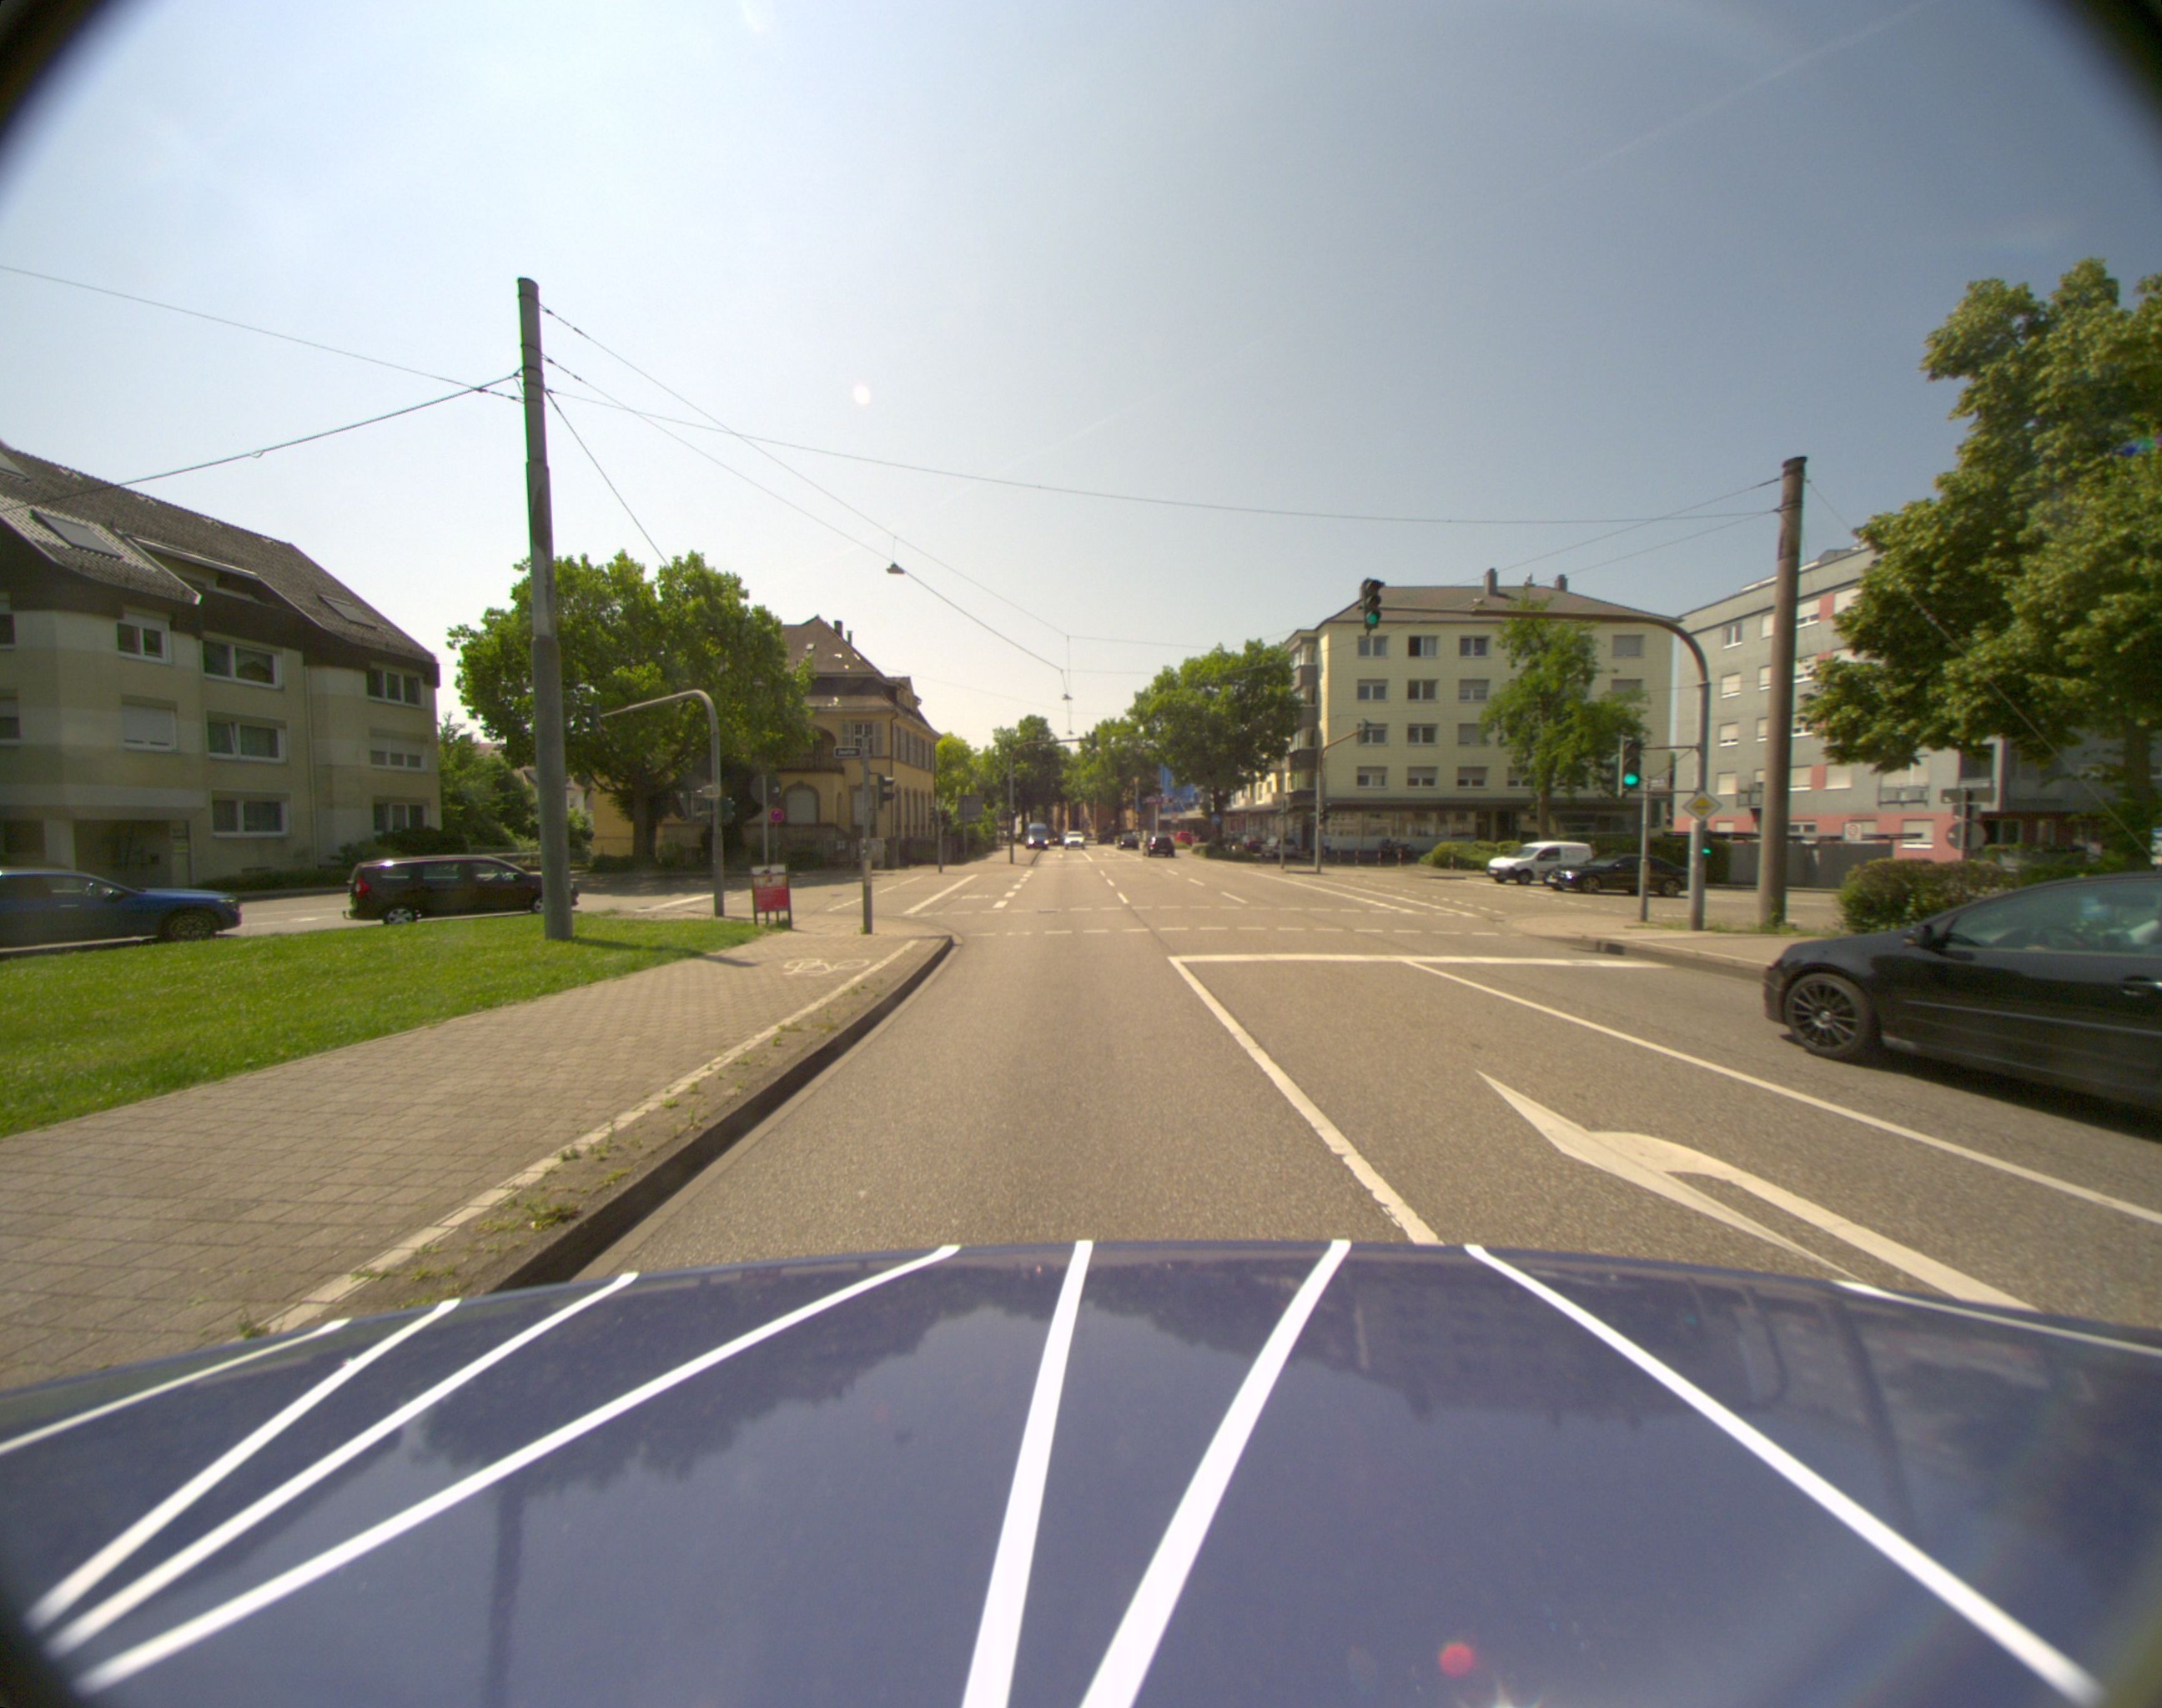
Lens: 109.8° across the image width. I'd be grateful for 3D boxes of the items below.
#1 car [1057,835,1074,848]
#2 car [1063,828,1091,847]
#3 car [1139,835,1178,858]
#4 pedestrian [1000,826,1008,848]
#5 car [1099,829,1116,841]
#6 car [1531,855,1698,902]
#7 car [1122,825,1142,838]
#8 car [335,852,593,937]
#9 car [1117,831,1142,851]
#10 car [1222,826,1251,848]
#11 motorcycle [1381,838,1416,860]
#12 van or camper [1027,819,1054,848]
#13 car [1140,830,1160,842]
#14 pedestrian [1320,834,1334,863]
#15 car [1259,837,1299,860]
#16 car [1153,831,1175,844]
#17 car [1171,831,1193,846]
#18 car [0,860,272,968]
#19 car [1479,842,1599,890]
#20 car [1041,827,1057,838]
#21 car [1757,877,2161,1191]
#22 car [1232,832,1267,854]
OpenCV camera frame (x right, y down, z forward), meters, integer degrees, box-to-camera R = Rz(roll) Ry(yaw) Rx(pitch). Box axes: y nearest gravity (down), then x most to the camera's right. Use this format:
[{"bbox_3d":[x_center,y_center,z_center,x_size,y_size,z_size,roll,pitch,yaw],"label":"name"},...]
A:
[{"bbox_3d":[-1.872,-1.458,89.980,1.736,1.398,4.330,-2,3,-5],"label":"car"},{"bbox_3d":[-0.406,-1.585,72.235,2.000,1.740,4.440,-2,3,-8],"label":"car"},{"bbox_3d":[5.138,-0.516,50.870,1.842,1.391,4.046,1,2,-4],"label":"car"},{"bbox_3d":[-6.609,-1.478,65.154,0.621,1.908,0.743,0,3,-2],"label":"pedestrian"},{"bbox_3d":[3.066,-2.218,88.668,1.620,1.447,3.708,0,1,-3],"label":"car"},{"bbox_3d":[19.297,0.855,27.605,4.618,1.393,2.115,2,2,-5],"label":"car"},{"bbox_3d":[7.163,-3.250,108.084,1.914,1.795,4.328,0,2,-9],"label":"car"},{"bbox_3d":[-15.479,0.904,19.312,4.827,1.623,1.912,-4,4,-43],"label":"car"},{"bbox_3d":[4.419,-1.219,69.478,1.760,1.552,4.313,2,4,-3],"label":"car"},{"bbox_3d":[13.444,-1.487,65.915,1.643,1.829,3.858,-1,2,-2],"label":"car"},{"bbox_3d":[20.516,-0.324,49.159,1.919,1.413,0.714,-1,4,0],"label":"motorcycle"},{"bbox_3d":[-3.909,-2.011,72.758,2.165,2.568,5.839,-1,3,-7],"label":"van or camper"},{"bbox_3d":[8.904,-2.326,98.914,1.913,1.511,4.330,0,2,-4],"label":"car"},{"bbox_3d":[15.415,-0.354,47.638,0.628,1.750,0.742,0,2,-1],"label":"pedestrian"},{"bbox_3d":[13.526,-0.425,52.116,1.586,1.451,3.937,0,2,-1],"label":"car"},{"bbox_3d":[9.647,-1.916,88.620,1.913,1.511,4.330,0,2,-4],"label":"car"},{"bbox_3d":[10.337,-1.621,77.923,1.639,1.460,3.632,0,3,-1],"label":"car"},{"bbox_3d":[-19.816,1.133,15.045,1.994,1.692,4.776,2,4,29],"label":"car"},{"bbox_3d":[18.636,0.475,31.023,3.696,1.726,1.892,2,3,-3],"label":"car"},{"bbox_3d":[-5.616,-3.712,131.351,1.916,1.719,3.993,-2,3,-15],"label":"car"},{"bbox_3d":[6.202,0.950,3.949,1.718,1.476,4.031,2,0,0],"label":"car"},{"bbox_3d":[13.281,-0.914,60.049,1.626,1.560,4.836,0,2,-1],"label":"car"}]
